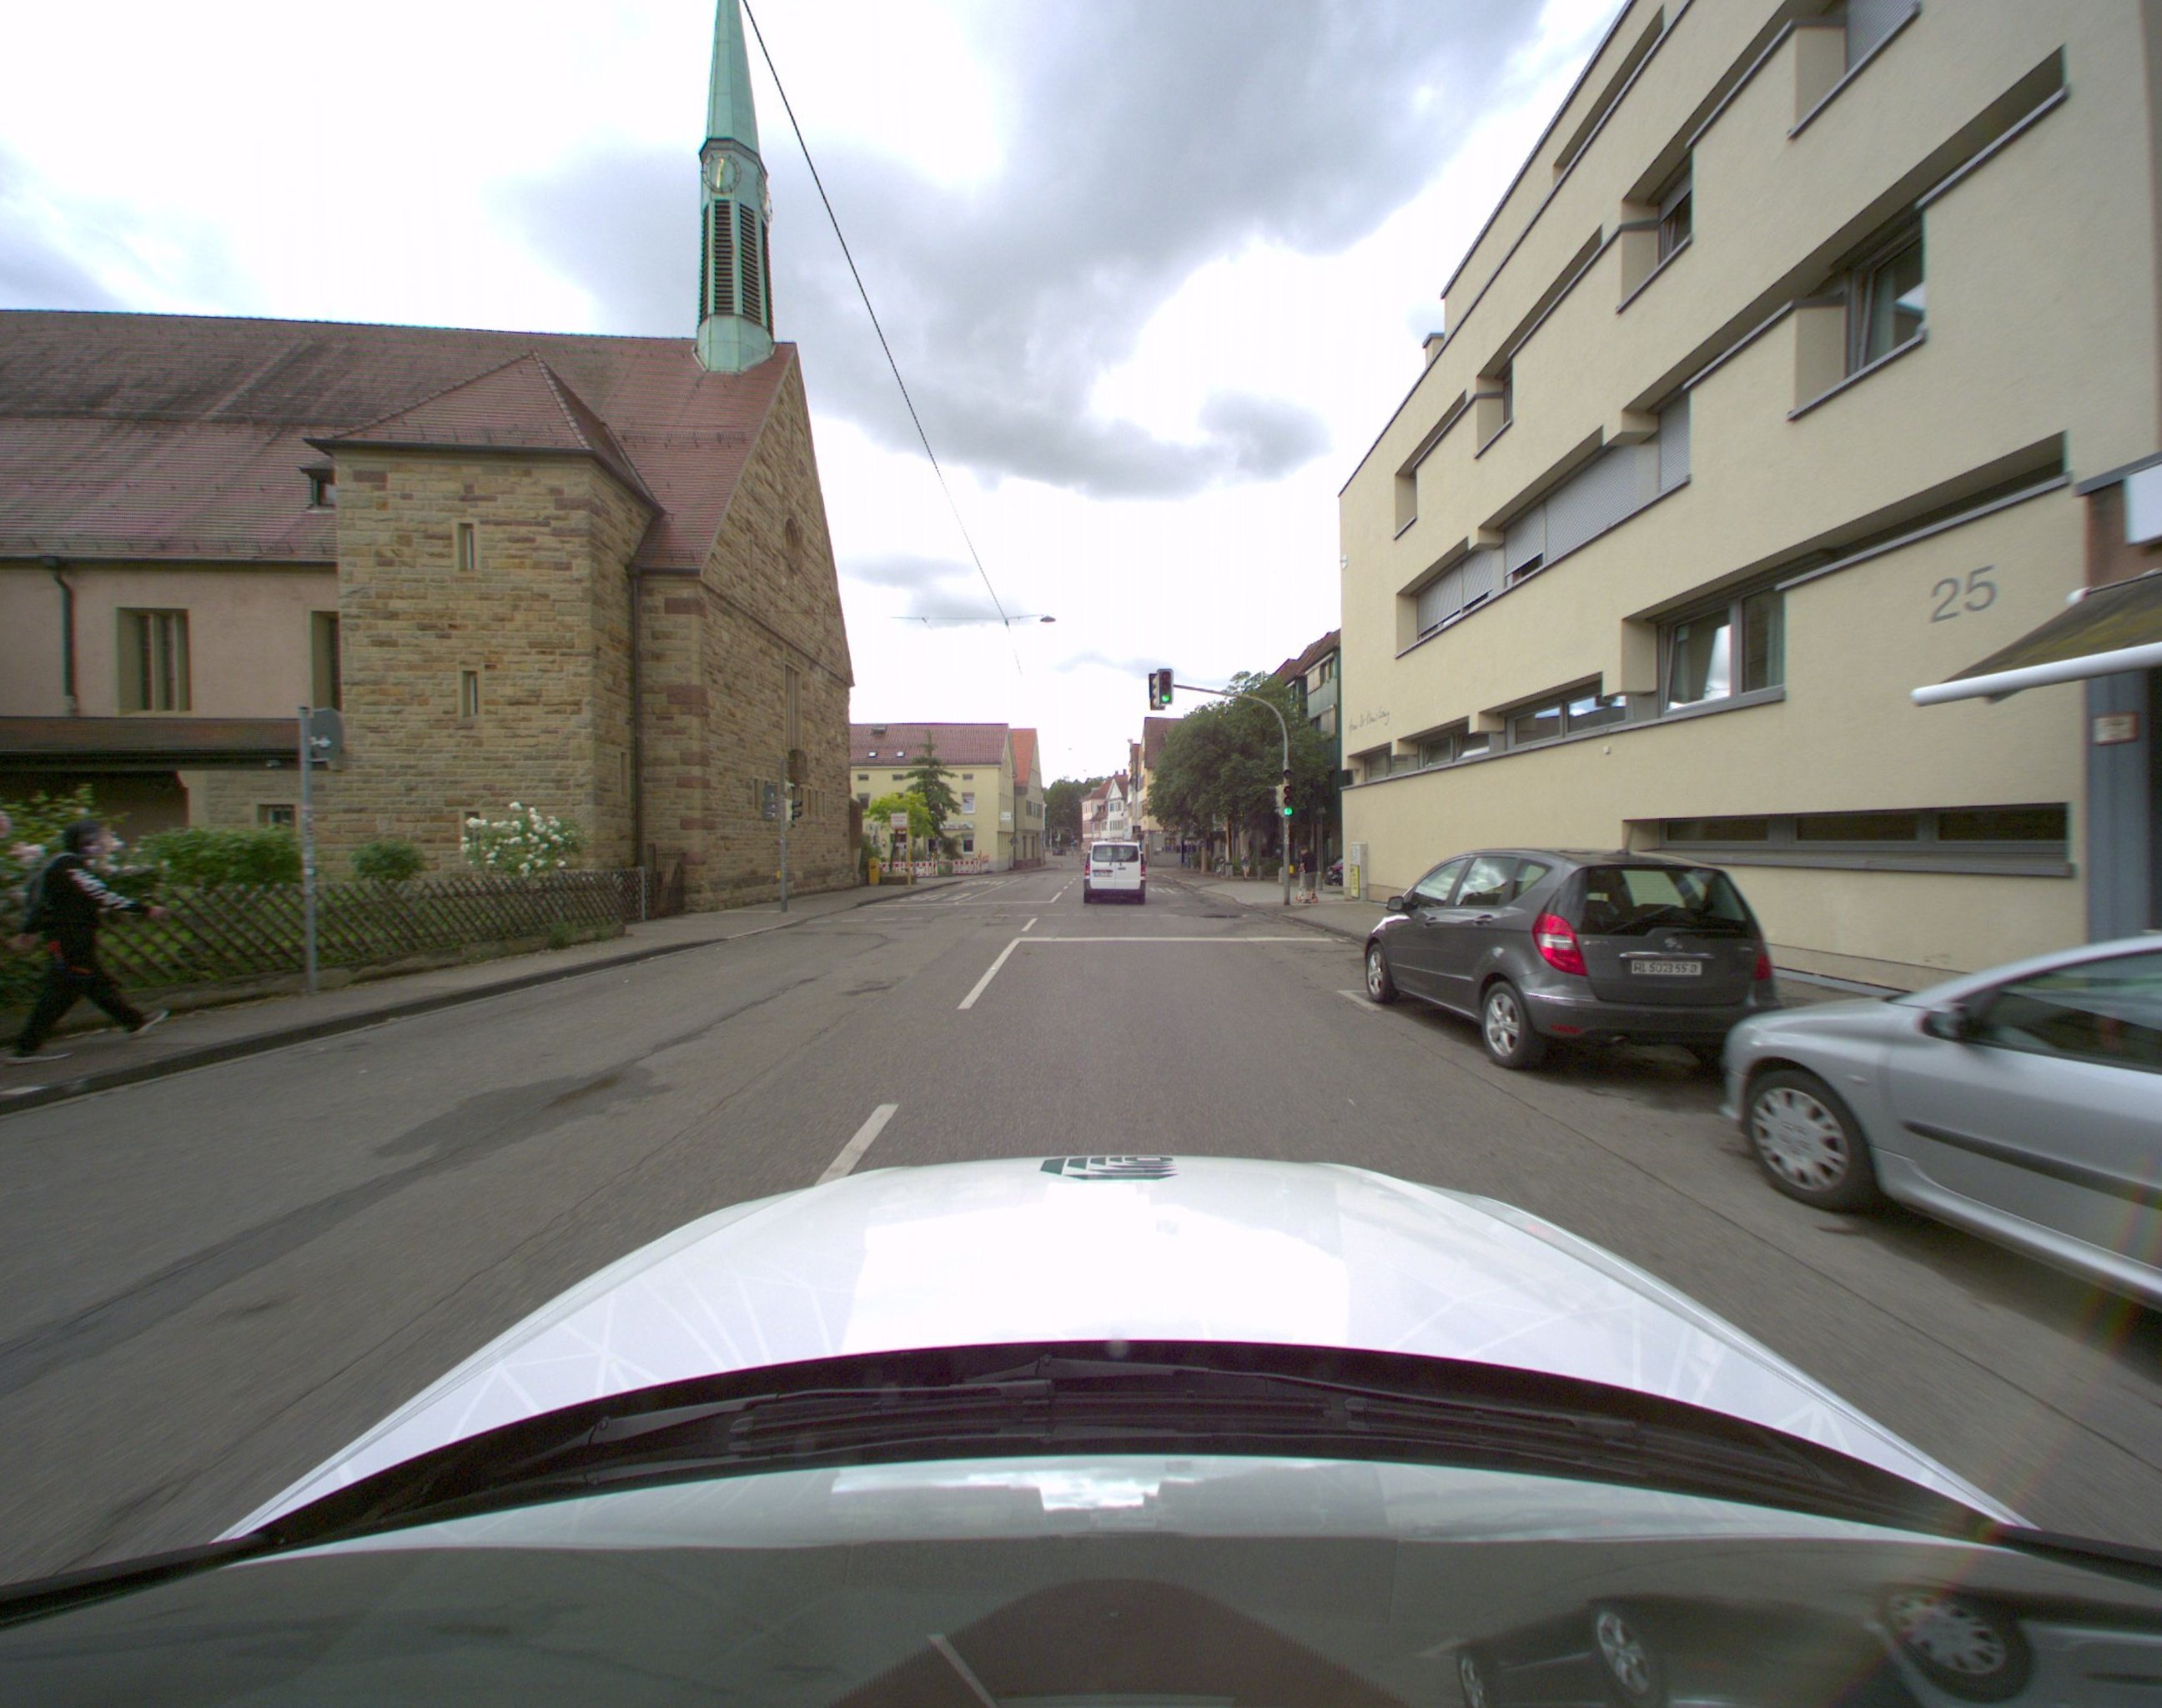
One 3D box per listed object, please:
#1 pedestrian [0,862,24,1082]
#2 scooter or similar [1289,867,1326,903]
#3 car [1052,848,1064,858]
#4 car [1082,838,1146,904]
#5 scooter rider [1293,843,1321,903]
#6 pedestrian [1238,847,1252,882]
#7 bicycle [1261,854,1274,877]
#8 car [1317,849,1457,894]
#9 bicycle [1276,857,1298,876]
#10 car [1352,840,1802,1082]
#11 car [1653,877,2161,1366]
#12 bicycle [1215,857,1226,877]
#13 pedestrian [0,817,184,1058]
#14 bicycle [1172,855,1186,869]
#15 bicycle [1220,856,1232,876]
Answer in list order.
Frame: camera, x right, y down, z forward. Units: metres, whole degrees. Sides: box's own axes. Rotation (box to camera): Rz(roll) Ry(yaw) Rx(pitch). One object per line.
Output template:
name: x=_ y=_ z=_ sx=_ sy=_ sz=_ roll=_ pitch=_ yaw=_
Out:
pedestrian: x=-7.909 y=0.831 z=5.512 sx=0.568 sy=1.554 sz=0.697 roll=1 pitch=0 yaw=2
scooter or similar: x=6.297 y=0.854 z=22.631 sx=0.661 sy=0.946 sz=0.817 roll=-3 pitch=-2 yaw=-9
car: x=-4.713 y=-0.237 z=164.972 sx=1.935 sy=2.014 sz=3.986 roll=0 pitch=0 yaw=-10
car: x=1.064 y=0.522 z=25.795 sx=1.865 sy=1.912 sz=4.003 roll=-1 pitch=-1 yaw=3
scooter rider: x=6.268 y=0.522 z=22.610 sx=0.452 sy=1.632 sz=0.502 roll=-3 pitch=-2 yaw=-13
pedestrian: x=8.096 y=0.513 z=40.227 sx=0.598 sy=1.715 sz=0.862 roll=-1 pitch=0 yaw=9
bicycle: x=10.852 y=0.642 z=47.395 sx=0.331 sy=1.300 sz=1.959 roll=0 pitch=0 yaw=1
car: x=10.961 y=0.607 z=29.443 sx=4.486 sy=1.574 sz=1.857 roll=0 pitch=0 yaw=7
bicycle: x=12.011 y=0.702 z=47.515 sx=0.543 sy=1.069 sz=2.288 roll=-1 pitch=0 yaw=-3
car: x=3.842 y=0.693 z=7.169 sx=1.706 sy=1.560 sz=3.786 roll=0 pitch=0 yaw=1
car: x=3.868 y=0.795 z=2.533 sx=1.546 sy=1.333 sz=3.813 roll=0 pitch=0 yaw=1
bicycle: x=8.211 y=0.757 z=47.987 sx=0.331 sy=1.141 sz=1.959 roll=0 pitch=0 yaw=1
pedestrian: x=-8.067 y=0.645 z=6.675 sx=0.568 sy=1.848 sz=0.697 roll=2 pitch=0 yaw=2
bicycle: x=8.250 y=0.662 z=68.352 sx=0.501 sy=1.106 sz=1.628 roll=-1 pitch=0 yaw=-19
bicycle: x=8.550 y=0.718 z=48.092 sx=0.331 sy=1.141 sz=1.959 roll=0 pitch=0 yaw=1
